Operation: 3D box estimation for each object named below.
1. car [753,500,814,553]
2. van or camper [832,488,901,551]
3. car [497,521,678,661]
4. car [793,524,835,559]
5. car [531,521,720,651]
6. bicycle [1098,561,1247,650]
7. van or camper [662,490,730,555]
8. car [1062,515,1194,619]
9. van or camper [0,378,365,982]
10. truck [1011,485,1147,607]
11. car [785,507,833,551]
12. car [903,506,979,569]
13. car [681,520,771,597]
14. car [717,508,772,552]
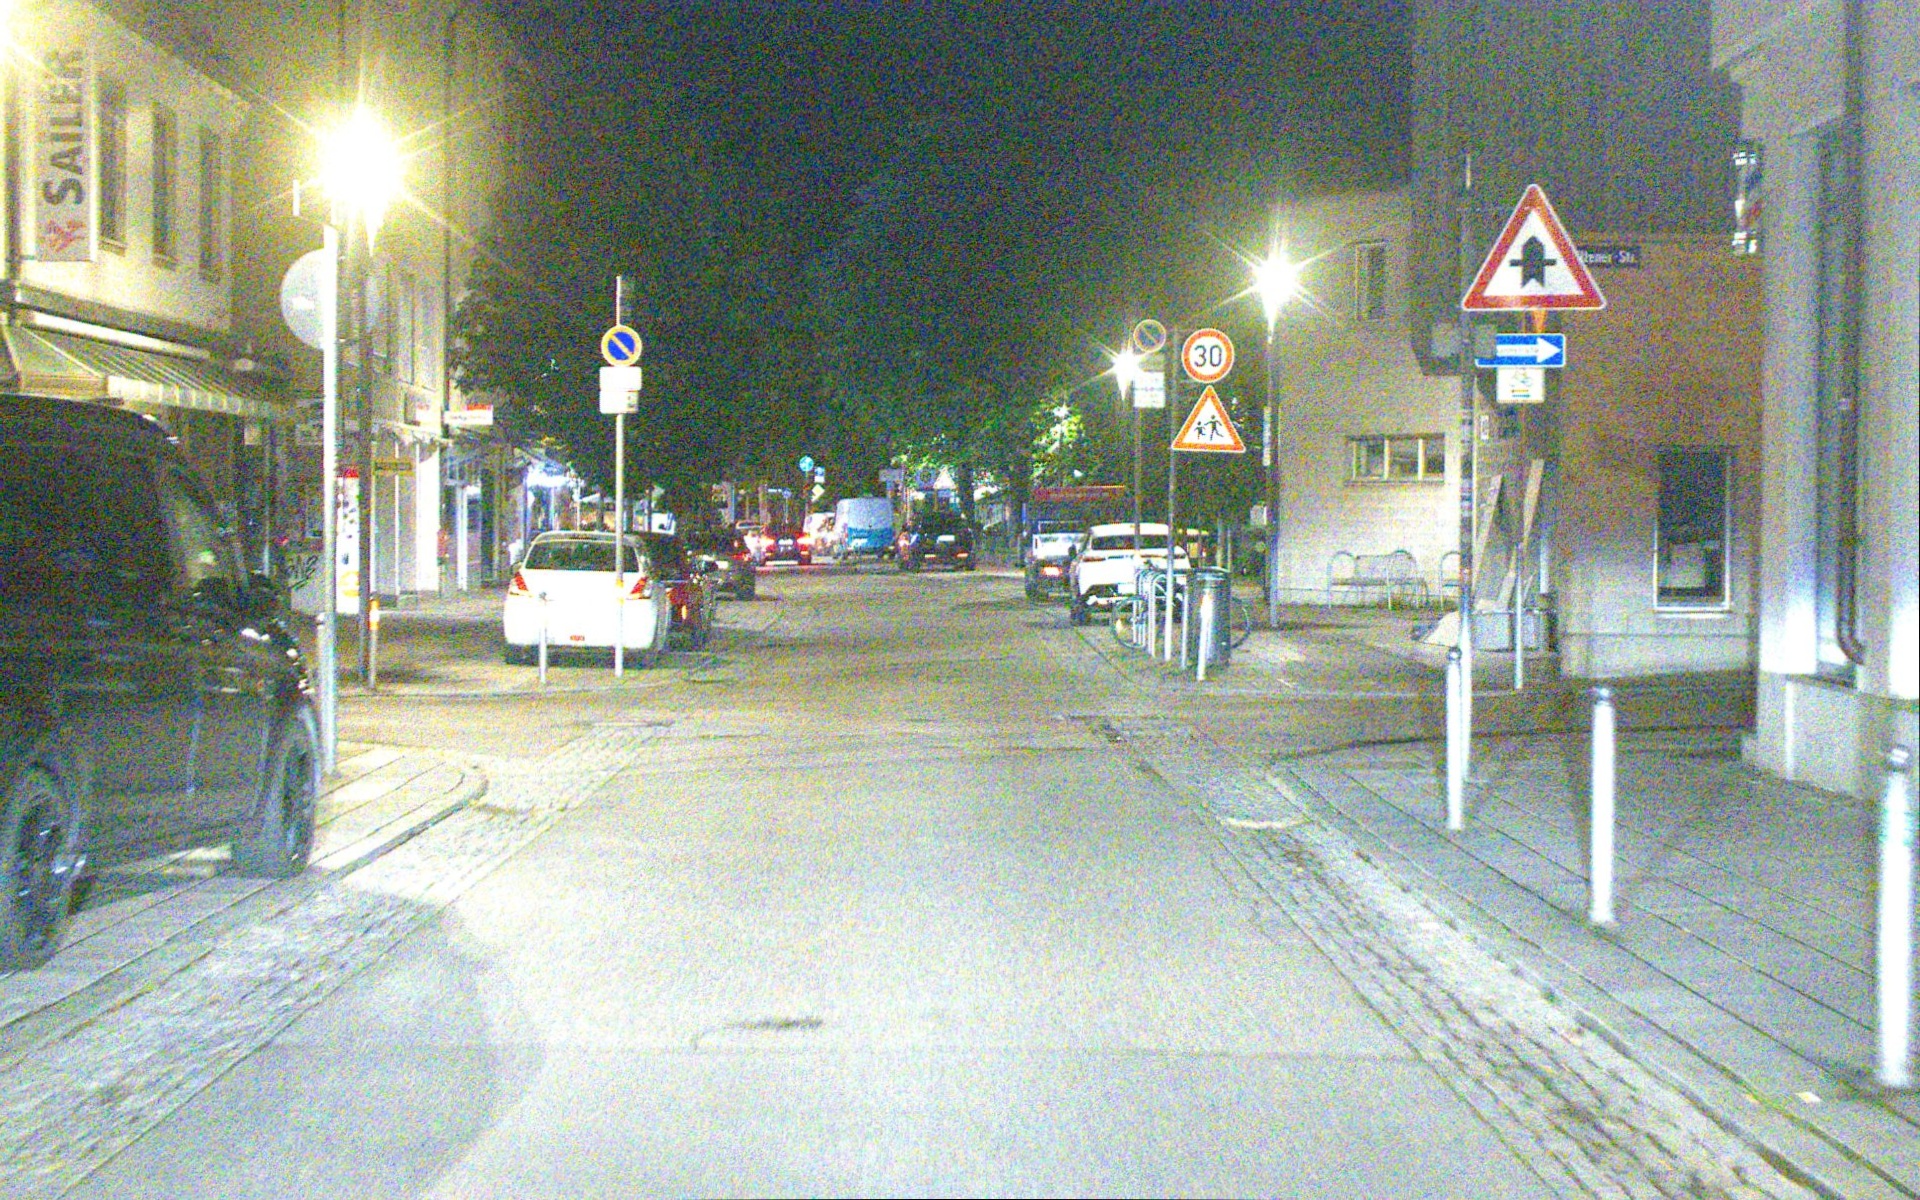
[{"bbox_3d":[-6.185,-2.573,120.097,1.993,1.817,4.001,0,1,-5],"label":"car"},{"bbox_3d":[-3.562,-3.043,129.770,2.108,2.309,4.263,-1,2,-8],"label":"van or camper"},{"bbox_3d":[-4.196,-0.140,39.165,1.728,1.471,3.847,1,1,-2],"label":"car"},{"bbox_3d":[-6.066,-2.420,142.493,1.531,1.413,3.846,0,1,-6],"label":"car"},{"bbox_3d":[-4.254,-0.228,44.485,2.019,1.483,5.008,3,1,-2],"label":"car"},{"bbox_3d":[2.564,0.061,41.507,1.754,1.058,0.346,0,1,-3],"label":"bicycle"},{"bbox_3d":[-8.511,-2.506,110.547,1.866,2.004,4.263,1,1,-8],"label":"van or camper"},{"bbox_3d":[2.539,-0.535,52.777,1.789,1.486,4.059,-1,1,0],"label":"car"},{"bbox_3d":[-3.829,0.199,13.063,1.846,1.935,5.153,1,1,5],"label":"van or camper"},{"bbox_3d":[2.310,-1.107,68.422,2.336,2.304,5.781,-1,2,-1],"label":"truck"},{"bbox_3d":[-6.515,-3.076,148.429,1.839,1.894,3.846,0,1,-6],"label":"car"},{"bbox_3d":[-0.598,-1.899,103.661,1.814,1.822,4.348,0,1,-7],"label":"car"},{"bbox_3d":[-4.977,-0.898,72.650,1.673,1.538,4.231,1,1,-7],"label":"car"},{"bbox_3d":[-8.422,-2.726,134.254,1.993,1.697,4.001,0,1,-6],"label":"car"}]
